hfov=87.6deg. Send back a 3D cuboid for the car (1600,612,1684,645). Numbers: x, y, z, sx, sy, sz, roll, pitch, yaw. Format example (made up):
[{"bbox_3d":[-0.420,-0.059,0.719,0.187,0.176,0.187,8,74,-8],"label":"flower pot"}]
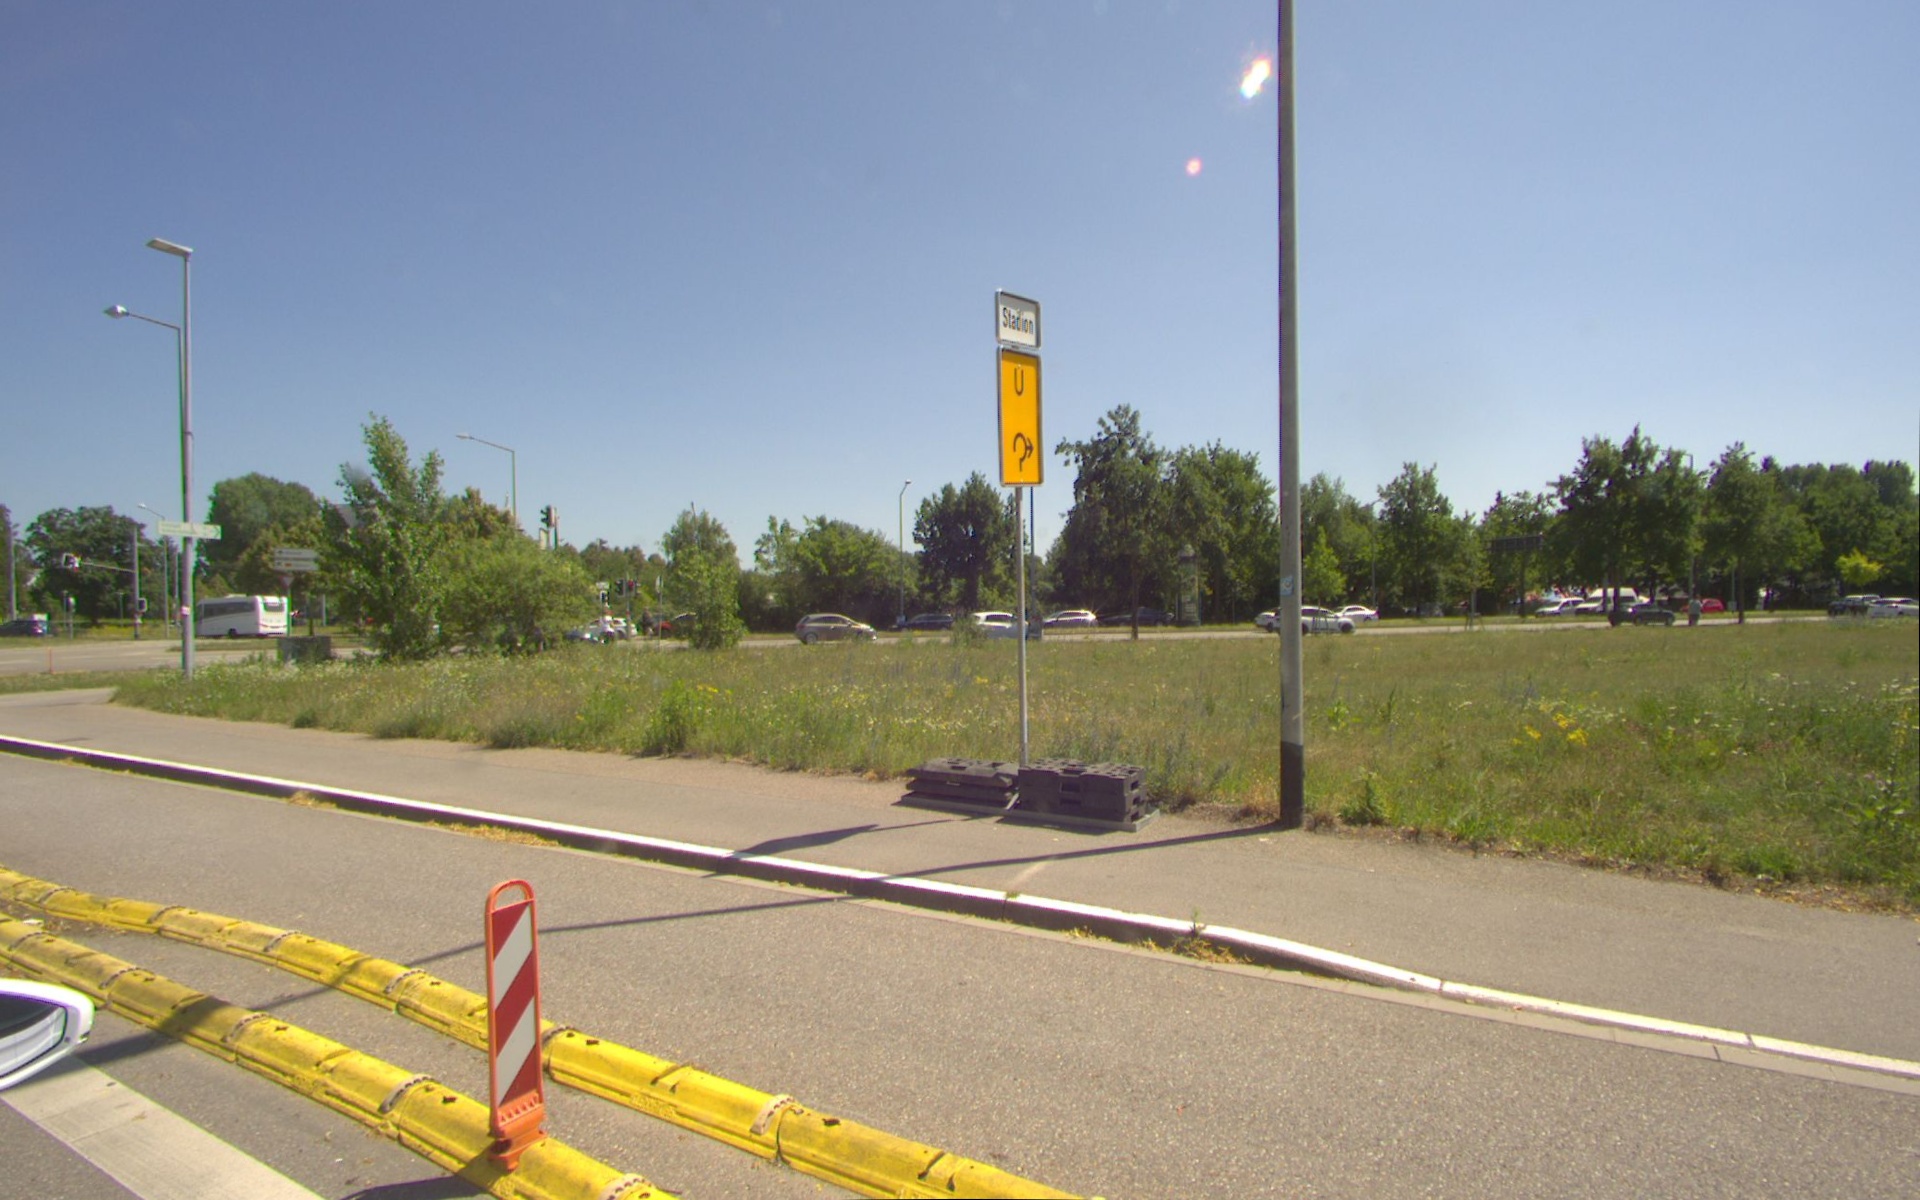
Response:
[{"bbox_3d":[42.028,1.749,61.751,3.923,2.040,2.000,0,-1,-5],"label":"car"}]

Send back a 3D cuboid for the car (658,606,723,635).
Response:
[{"bbox_3d":[-16.161,1.244,60.296,3.690,1.739,1.998,0,-1,-13],"label":"car"}]

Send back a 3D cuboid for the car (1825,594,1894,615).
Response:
[{"bbox_3d":[64.039,0.347,71.337,3.931,1.425,1.996,0,-1,-19],"label":"car"}]

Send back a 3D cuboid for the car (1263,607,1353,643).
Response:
[{"bbox_3d":[18.432,1.316,53.053,4.189,1.839,1.996,0,-1,-18],"label":"car"}]

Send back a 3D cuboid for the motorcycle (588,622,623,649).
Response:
[{"bbox_3d":[-13.148,1.315,37.183,0.619,0.982,1.709,0,-1,3],"label":"motorcycle"}]

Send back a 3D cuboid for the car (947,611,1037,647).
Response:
[{"bbox_3d":[1.514,1.378,47.430,3.947,1.641,1.675,0,-1,-23],"label":"car"}]

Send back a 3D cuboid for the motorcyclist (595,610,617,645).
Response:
[{"bbox_3d":[-13.173,1.024,37.228,0.570,1.306,0.615,0,-1,3],"label":"motorcyclist"}]

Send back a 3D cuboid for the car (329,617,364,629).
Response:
[{"bbox_3d":[-88.279,3.339,144.169,1.964,1.736,3.996,0,-1,16],"label":"car"}]

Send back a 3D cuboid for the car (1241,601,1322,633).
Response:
[{"bbox_3d":[18.918,1.002,58.987,4.189,1.839,1.996,0,-1,-18],"label":"car"}]

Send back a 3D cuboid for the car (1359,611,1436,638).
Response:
[{"bbox_3d":[26.134,1.462,59.819,3.928,1.605,1.837,0,-1,-15],"label":"car"}]

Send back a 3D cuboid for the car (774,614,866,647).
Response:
[{"bbox_3d":[-6.795,1.440,48.337,4.187,1.543,1.819,0,-1,-17],"label":"car"}]

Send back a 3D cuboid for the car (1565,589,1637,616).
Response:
[{"bbox_3d":[51.053,0.218,79.726,4.993,2.040,1.997,0,-1,-15],"label":"car"}]

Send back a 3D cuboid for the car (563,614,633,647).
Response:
[{"bbox_3d":[-22.522,1.895,62.446,3.928,2.040,1.997,0,-1,-15],"label":"car"}]

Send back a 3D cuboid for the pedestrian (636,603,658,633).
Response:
[{"bbox_3d":[-16.671,0.978,53.297,0.812,1.583,0.789,-1,-1,37],"label":"pedestrian"}]

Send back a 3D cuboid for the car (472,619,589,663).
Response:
[{"bbox_3d":[-16.873,1.567,39.393,3.963,1.641,1.724,1,-1,-37],"label":"car"}]

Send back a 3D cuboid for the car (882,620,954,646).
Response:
[{"bbox_3d":[-2.814,2.175,66.634,4.607,1.710,1.735,0,-1,-13],"label":"car"}]

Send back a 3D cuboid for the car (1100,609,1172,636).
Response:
[{"bbox_3d":[12.280,1.581,69.891,4.521,1.829,1.998,0,-1,-12],"label":"car"}]

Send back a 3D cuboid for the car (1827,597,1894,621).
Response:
[{"bbox_3d":[78.563,0.798,87.379,4.993,2.040,1.997,0,-1,-15],"label":"car"}]

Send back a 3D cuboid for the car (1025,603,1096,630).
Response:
[{"bbox_3d":[6.669,1.098,66.410,4.298,1.739,1.998,0,-1,-13],"label":"car"}]

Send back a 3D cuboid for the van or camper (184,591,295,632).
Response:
[{"bbox_3d":[-50.041,0.820,69.521,7.380,2.728,2.509,-1,-1,19],"label":"van or camper"}]

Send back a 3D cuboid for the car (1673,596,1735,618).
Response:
[{"bbox_3d":[64.581,0.654,86.975,4.522,1.874,1.997,0,-1,-16],"label":"car"}]

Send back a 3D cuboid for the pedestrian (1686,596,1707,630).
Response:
[{"bbox_3d":[35.332,0.629,48.048,0.724,1.583,0.497,0,0,-18],"label":"pedestrian"}]

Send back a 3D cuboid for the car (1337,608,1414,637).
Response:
[{"bbox_3d":[30.265,1.640,72.916,4.993,2.040,1.997,0,-1,-15],"label":"car"}]

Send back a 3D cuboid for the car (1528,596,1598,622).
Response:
[{"bbox_3d":[49.616,0.739,82.400,4.993,2.040,1.997,0,-1,-15],"label":"car"}]

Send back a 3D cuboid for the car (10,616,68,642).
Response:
[{"bbox_3d":[-58.612,1.841,63.697,3.176,1.627,1.646,-1,-1,25],"label":"car"}]

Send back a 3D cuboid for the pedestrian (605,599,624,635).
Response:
[{"bbox_3d":[-18.307,0.909,53.008,0.726,1.894,0.648,-1,-1,34],"label":"pedestrian"}]

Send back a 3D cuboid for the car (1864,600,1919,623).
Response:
[{"bbox_3d":[61.183,0.761,65.051,3.946,1.463,1.632,0,-1,-11],"label":"car"}]
